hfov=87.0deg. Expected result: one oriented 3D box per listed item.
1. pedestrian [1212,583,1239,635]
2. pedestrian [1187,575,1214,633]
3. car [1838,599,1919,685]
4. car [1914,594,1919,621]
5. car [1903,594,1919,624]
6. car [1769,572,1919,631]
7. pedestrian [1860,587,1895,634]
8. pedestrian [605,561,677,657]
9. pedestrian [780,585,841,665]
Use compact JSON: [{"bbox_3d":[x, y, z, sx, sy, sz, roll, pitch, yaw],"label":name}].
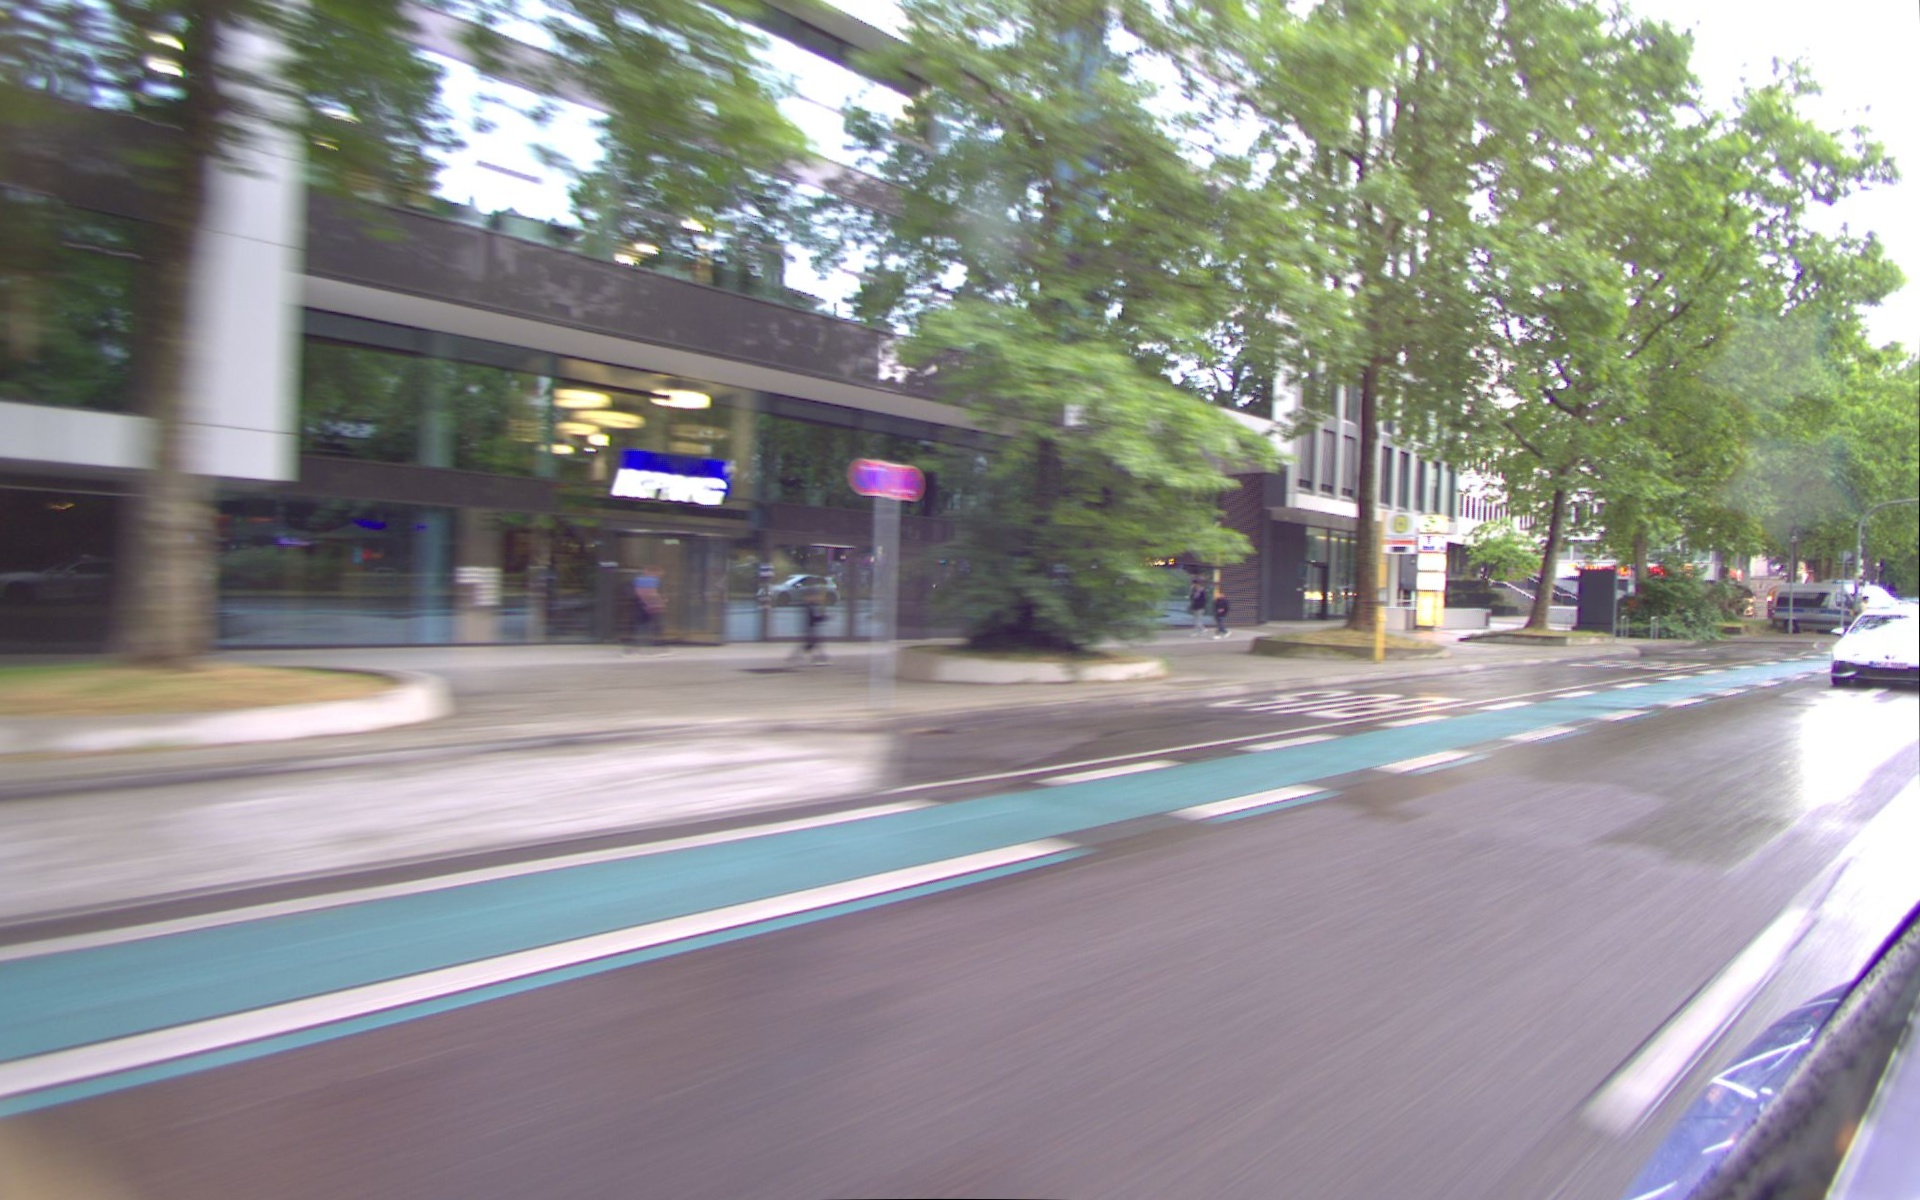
[{"bbox_3d":[8.769,0.289,33.439,0.707,1.645,0.527,-1,4,-41],"label":"pedestrian"},{"bbox_3d":[8.088,0.119,33.993,0.692,1.881,0.523,-1,4,-41],"label":"pedestrian"},{"bbox_3d":[18.069,0.733,19.078,3.727,1.490,1.794,0,0,-41],"label":"car"},{"bbox_3d":[55.397,0.423,57.401,3.366,1.545,1.597,0,1,-41],"label":"car"},{"bbox_3d":[52.291,0.482,54.685,3.366,1.545,1.597,0,1,-41],"label":"car"},{"bbox_3d":[43.634,0.034,49.732,2.275,2.713,6.292,0,1,-5],"label":"car"},{"bbox_3d":[36.892,0.410,40.696,0.707,1.872,0.892,0,0,-34],"label":"pedestrian"},{"bbox_3d":[-6.336,0.164,20.090,1.068,1.815,0.789,1,2,-41],"label":"pedestrian"},{"bbox_3d":[-2.939,0.481,19.903,0.987,1.524,0.588,1,1,-41],"label":"pedestrian"}]
